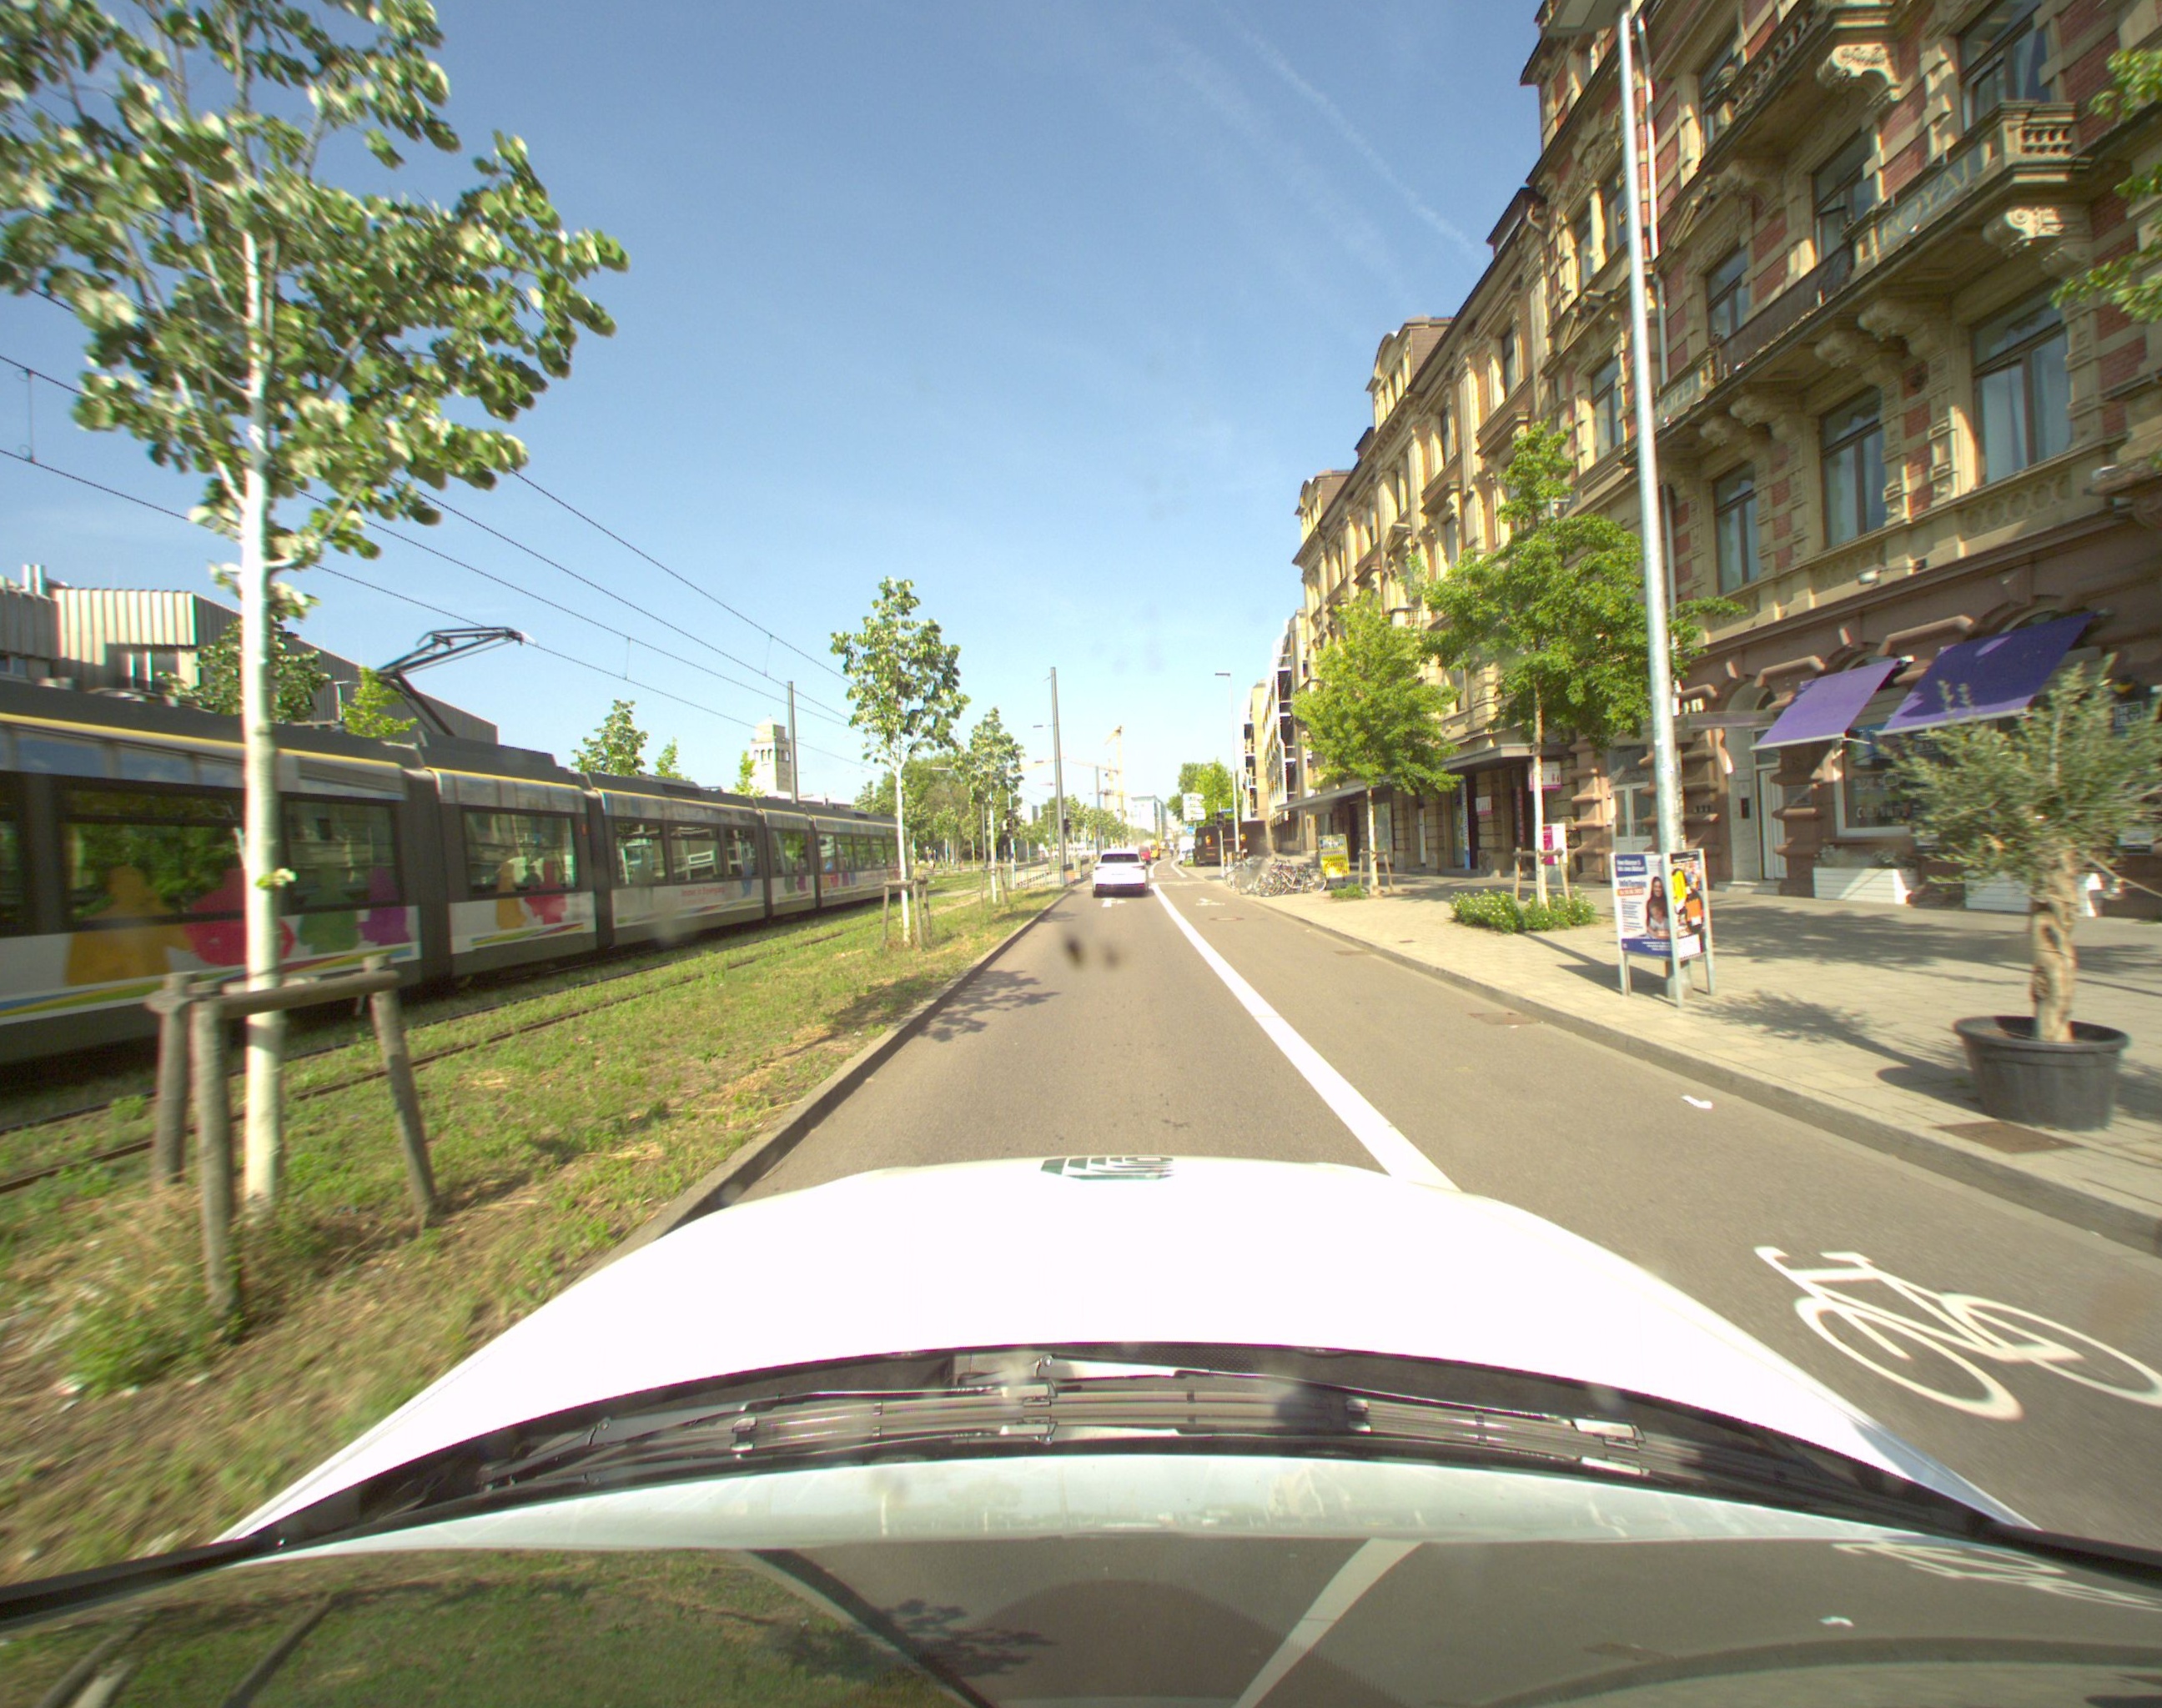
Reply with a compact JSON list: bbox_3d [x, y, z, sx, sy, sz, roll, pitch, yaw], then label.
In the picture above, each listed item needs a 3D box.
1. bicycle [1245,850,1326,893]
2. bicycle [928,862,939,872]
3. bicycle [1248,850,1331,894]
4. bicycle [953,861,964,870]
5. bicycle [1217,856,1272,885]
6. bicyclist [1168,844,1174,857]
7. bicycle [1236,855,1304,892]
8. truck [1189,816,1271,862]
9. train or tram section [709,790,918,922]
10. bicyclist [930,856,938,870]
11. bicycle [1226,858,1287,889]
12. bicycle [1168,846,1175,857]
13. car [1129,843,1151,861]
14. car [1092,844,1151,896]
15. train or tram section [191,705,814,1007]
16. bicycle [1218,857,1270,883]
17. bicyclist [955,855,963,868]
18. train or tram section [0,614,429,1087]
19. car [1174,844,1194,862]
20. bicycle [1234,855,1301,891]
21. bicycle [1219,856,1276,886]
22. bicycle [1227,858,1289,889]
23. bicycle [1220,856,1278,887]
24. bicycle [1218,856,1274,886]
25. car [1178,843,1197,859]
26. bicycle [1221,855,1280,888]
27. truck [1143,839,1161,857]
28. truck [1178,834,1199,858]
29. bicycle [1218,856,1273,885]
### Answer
[{"bbox_3d":[6.157,0.533,24.574,2.230,1.104,0.519,-5,0,2],"label":"bicycle"},{"bbox_3d":[-15.216,1.353,84.156,0.536,0.958,1.920,-2,0,5],"label":"bicycle"},{"bbox_3d":[6.119,0.530,24.019,2.230,1.104,0.589,-5,0,2],"label":"bicycle"},{"bbox_3d":[-14.485,1.337,96.664,0.693,0.990,2.826,-2,0,3],"label":"bicycle"},{"bbox_3d":[6.219,0.628,31.034,1.925,0.945,0.429,-5,0,5],"label":"bicycle"},{"bbox_3d":[12.688,-0.506,114.513,0.706,1.895,0.844,-3,0,2],"label":"bicyclist"},{"bbox_3d":[5.904,0.604,25.487,1.927,0.986,0.471,-5,0,2],"label":"bicycle"},{"bbox_3d":[10.525,-0.986,58.457,2.519,3.011,6.911,-3,0,-21],"label":"truck"},{"bbox_3d":[-8.793,0.084,29.144,2.887,3.586,12.231,-3,0,2],"label":"train or tram section"},{"bbox_3d":[-15.218,0.903,84.269,0.536,1.422,0.901,-2,0,5],"label":"bicyclist"},{"bbox_3d":[5.948,0.662,27.612,1.927,0.874,0.441,-5,0,2],"label":"bicycle"},{"bbox_3d":[12.693,-0.362,114.675,0.778,1.496,2.802,-3,0,3],"label":"bicycle"},{"bbox_3d":[5.901,-0.219,80.718,1.983,1.684,4.376,-2,0,6],"label":"car"},{"bbox_3d":[1.319,0.493,27.945,1.811,1.590,4.407,-2,0,1],"label":"car"},{"bbox_3d":[-9.289,0.045,16.539,2.887,3.586,12.940,-3,0,2],"label":"train or tram section"},{"bbox_3d":[6.339,0.614,31.708,1.877,0.863,0.429,-5,0,5],"label":"bicycle"},{"bbox_3d":[-14.474,0.911,96.808,0.693,1.516,1.187,-2,0,3],"label":"bicyclist"},{"bbox_3d":[-9.671,0.020,3.768,2.888,3.586,12.480,-3,0,1],"label":"train or tram section"},{"bbox_3d":[9.219,-0.092,72.851,1.640,1.499,3.535,-2,0,8],"label":"car"},{"bbox_3d":[5.941,0.607,25.966,1.947,0.986,0.471,-5,0,2],"label":"bicycle"},{"bbox_3d":[6.069,0.622,29.746,1.925,0.945,0.441,-5,0,5],"label":"bicycle"},{"bbox_3d":[5.901,0.660,27.169,1.927,0.874,0.441,-5,0,2],"label":"bicycle"},{"bbox_3d":[6.026,0.619,29.267,1.925,0.945,0.441,-5,0,5],"label":"bicycle"},{"bbox_3d":[6.108,0.624,30.129,1.925,0.945,0.429,-5,0,5],"label":"bicycle"},{"bbox_3d":[10.097,-0.294,77.267,1.640,1.385,3.535,-2,0,8],"label":"car"},{"bbox_3d":[5.985,0.609,28.821,1.925,1.013,0.441,-5,0,5],"label":"bicycle"},{"bbox_3d":[9.645,-0.845,111.529,2.203,2.318,5.895,-2,0,3],"label":"truck"},{"bbox_3d":[11.960,-0.891,90.960,1.985,2.508,4.003,-2,0,3],"label":"truck"},{"bbox_3d":[6.164,0.626,30.570,1.925,0.945,0.429,-5,0,5],"label":"bicycle"}]
